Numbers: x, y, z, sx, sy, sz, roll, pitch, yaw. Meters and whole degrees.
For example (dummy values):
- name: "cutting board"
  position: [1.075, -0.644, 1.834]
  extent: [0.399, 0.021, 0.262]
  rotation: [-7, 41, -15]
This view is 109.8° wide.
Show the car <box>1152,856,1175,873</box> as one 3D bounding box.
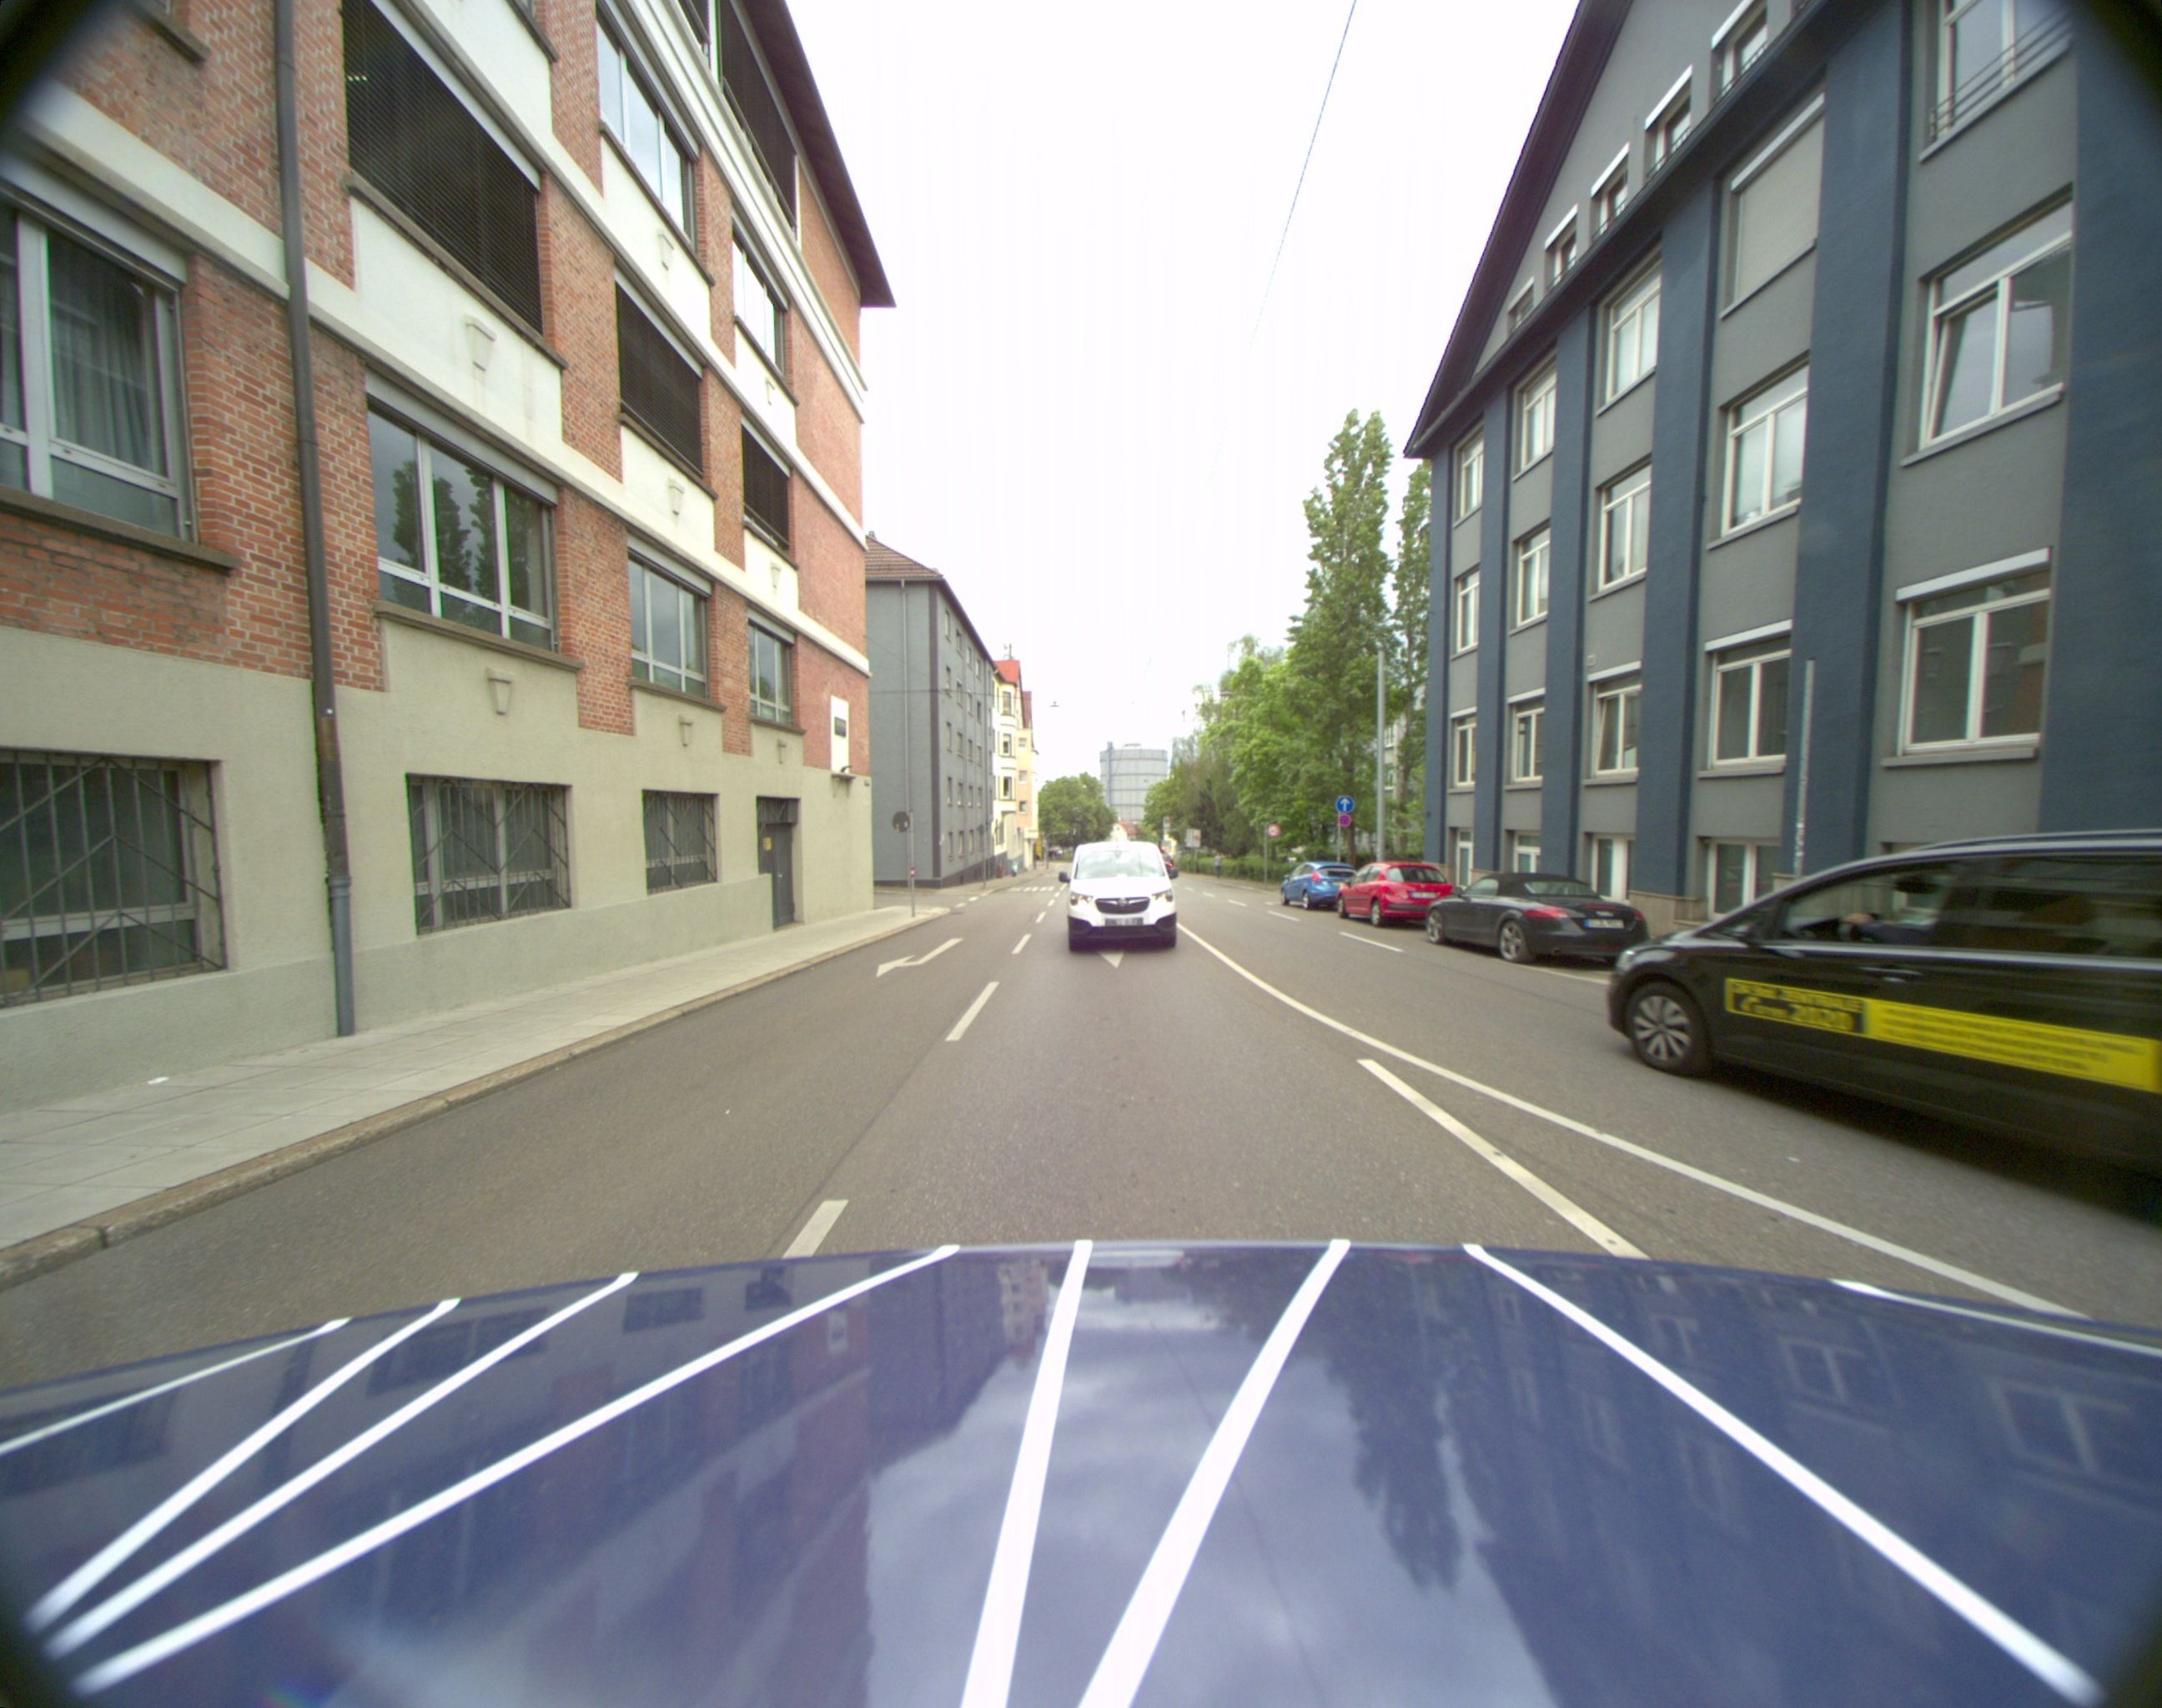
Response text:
- name: "car"
  position: [7.170, 0.894, 66.196]
  extent: [1.724, 1.475, 3.727]
  rotation: [1, 0, 2]

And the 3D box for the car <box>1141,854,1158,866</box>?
- name: "car"
  position: [7.820, 0.666, 87.086]
  extent: [1.724, 1.408, 3.727]
  rotation: [1, 0, 2]

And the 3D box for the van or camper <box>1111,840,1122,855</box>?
- name: "van or camper"
  position: [6.725, -1.139, 143.364]
  extent: [1.914, 2.754, 5.925]
  rotation: [1, 0, 2]

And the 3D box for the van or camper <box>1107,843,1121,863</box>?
- name: "van or camper"
  position: [4.940, -0.148, 113.562]
  extent: [1.914, 2.754, 5.925]
  rotation: [1, 0, 2]

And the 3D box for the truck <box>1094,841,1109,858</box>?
- name: "truck"
  position: [4.321, -0.848, 160.839]
  extent: [2.980, 3.394, 9.358]
  rotation: [-2, 0, 1]

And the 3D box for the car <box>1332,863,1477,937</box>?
- name: "car"
  position: [7.450, 0.985, 17.934]
  extent: [1.819, 1.465, 3.869]
  rotation: [2, 0, 2]

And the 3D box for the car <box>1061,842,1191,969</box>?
- name: "car"
  position: [0.702, 0.751, 13.595]
  extent: [1.840, 1.797, 4.939]
  rotation: [-2, 0, 1]

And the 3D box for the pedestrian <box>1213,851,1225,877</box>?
- name: "pedestrian"
  position: [9.884, 0.696, 54.460]
  extent: [0.746, 1.839, 0.776]
  rotation: [-1, 1, 2]

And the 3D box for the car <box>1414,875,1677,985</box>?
- name: "car"
  position: [7.122, 1.073, 12.227]
  extent: [1.724, 1.319, 4.041]
  rotation: [2, 0, 0]

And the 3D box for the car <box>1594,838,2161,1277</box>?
- name: "car"
  position: [5.022, 0.808, 3.697]
  extent: [1.789, 1.697, 4.304]
  rotation: [2, 0, -6]

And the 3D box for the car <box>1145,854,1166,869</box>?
- name: "car"
  position: [7.180, 0.685, 73.619]
  extent: [1.724, 1.408, 3.727]
  rotation: [1, 0, 2]

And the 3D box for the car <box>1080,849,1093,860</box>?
- name: "car"
  position: [0.843, 0.096, 106.772]
  extent: [1.724, 1.486, 3.727]
  rotation: [1, 0, 2]

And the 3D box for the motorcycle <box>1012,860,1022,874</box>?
- name: "motorcycle"
  position: [-5.200, 1.047, 62.148]
  extent: [0.566, 1.105, 1.653]
  rotation: [4, 0, 2]

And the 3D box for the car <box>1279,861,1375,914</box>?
- name: "car"
  position: [7.483, 0.987, 23.507]
  extent: [1.724, 1.445, 3.727]
  rotation: [1, 0, 0]

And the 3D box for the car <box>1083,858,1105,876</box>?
- name: "car"
  position: [1.128, 1.090, 64.308]
  extent: [1.724, 1.486, 3.727]
  rotation: [1, 0, 2]
